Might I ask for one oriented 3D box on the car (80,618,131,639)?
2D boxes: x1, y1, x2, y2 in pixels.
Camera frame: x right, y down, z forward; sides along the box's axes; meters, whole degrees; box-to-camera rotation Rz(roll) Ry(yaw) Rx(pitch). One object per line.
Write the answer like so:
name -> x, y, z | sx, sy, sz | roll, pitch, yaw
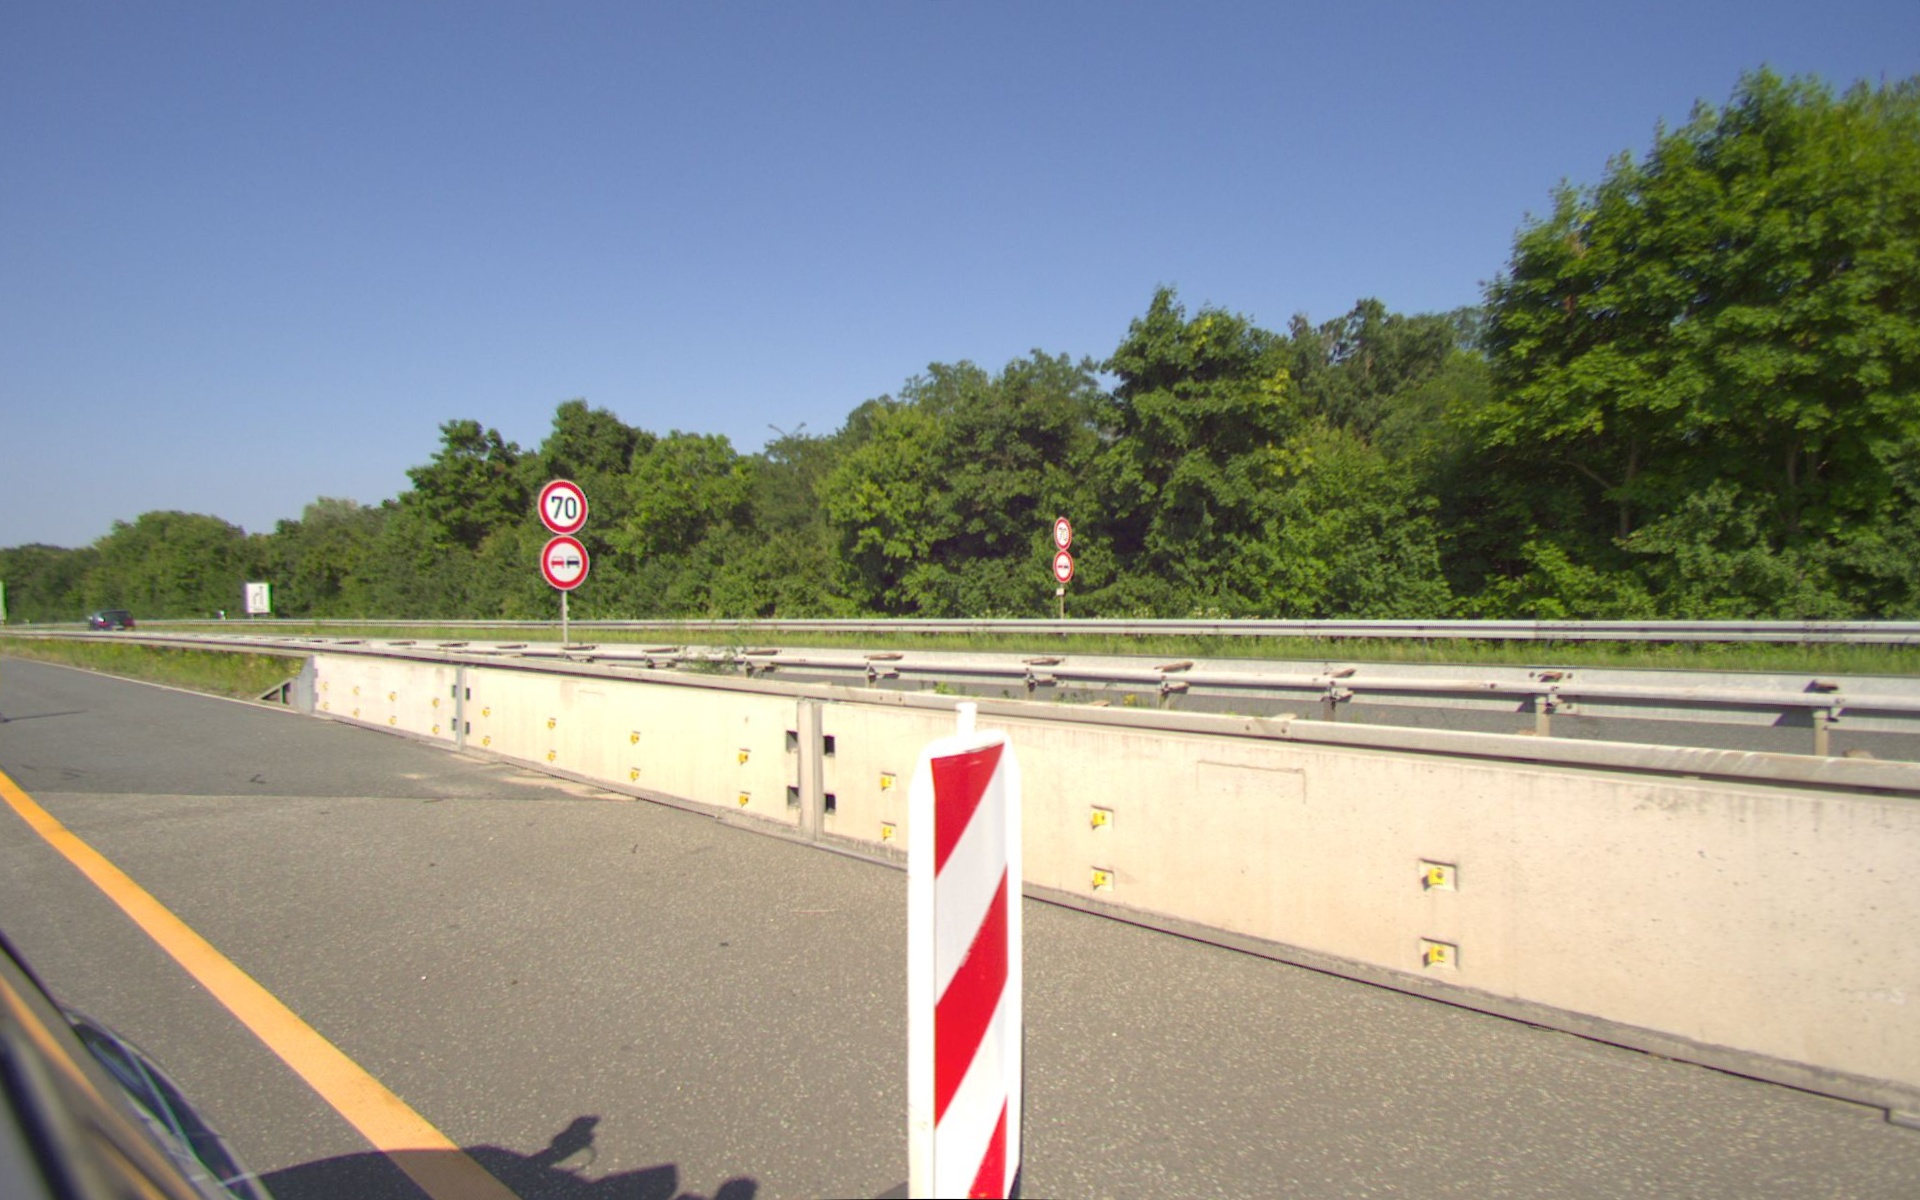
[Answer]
car -> -48.466, 1.610, 57.374 | 3.766, 1.155, 1.575 | -1, -1, 40
